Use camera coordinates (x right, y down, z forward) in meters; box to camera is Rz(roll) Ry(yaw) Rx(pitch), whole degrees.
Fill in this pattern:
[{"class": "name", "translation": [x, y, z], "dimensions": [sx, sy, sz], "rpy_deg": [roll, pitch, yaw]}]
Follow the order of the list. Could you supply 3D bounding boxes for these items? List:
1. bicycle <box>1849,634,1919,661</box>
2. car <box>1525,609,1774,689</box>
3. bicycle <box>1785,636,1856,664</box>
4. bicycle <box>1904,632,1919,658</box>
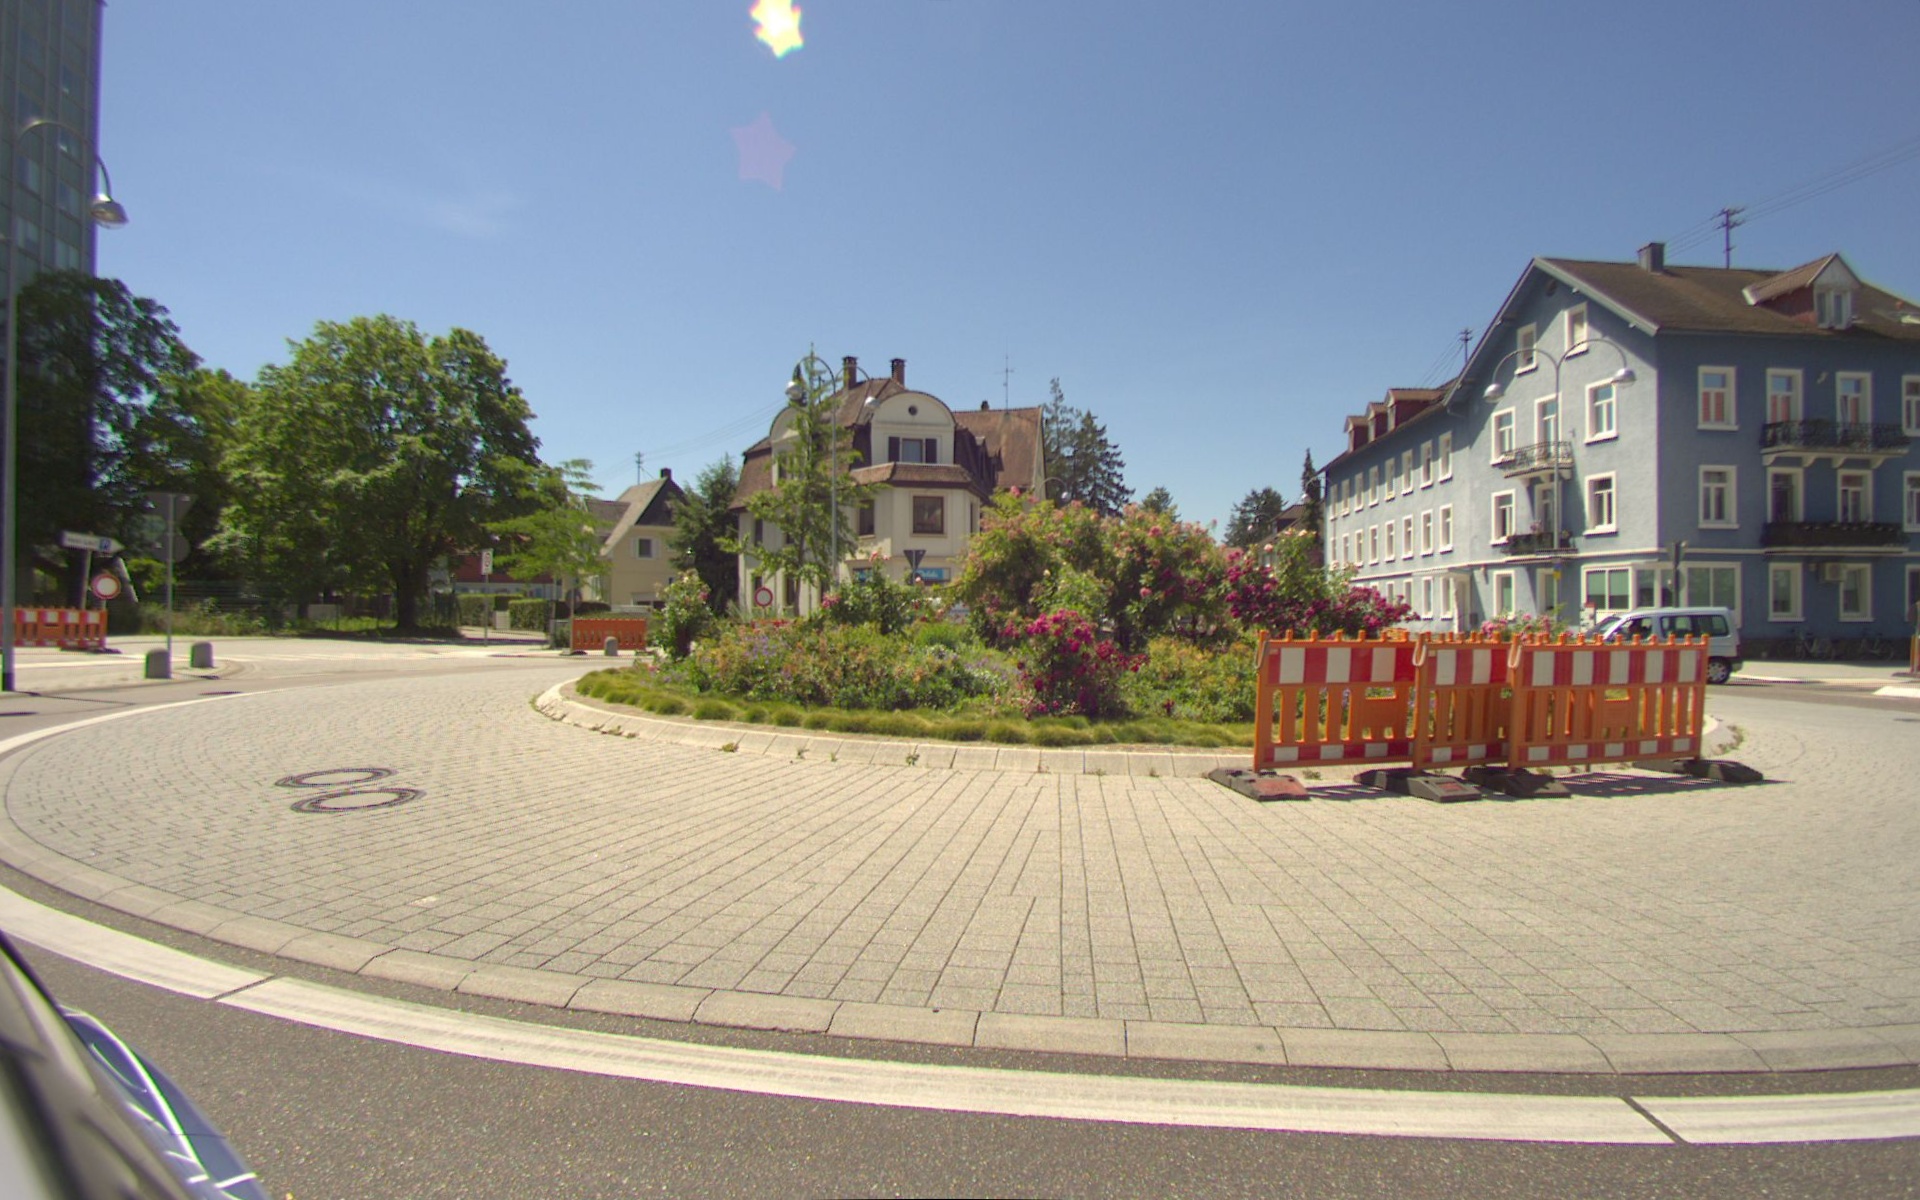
[{"class": "bicycle", "translation": [32.002, 1.654, 35.053], "dimensions": [2.054, 0.918, 0.613], "rpy_deg": [1, -1, -7]}, {"class": "car", "translation": [16.311, 1.126, 24.257], "dimensions": [4.533, 1.750, 1.986], "rpy_deg": [0, -1, 21]}, {"class": "bicycle", "translation": [29.162, 1.699, 34.303], "dimensions": [2.054, 0.918, 0.613], "rpy_deg": [1, -1, -7]}, {"class": "bicycle", "translation": [34.224, 1.577, 35.301], "dimensions": [2.056, 0.918, 0.612], "rpy_deg": [1, -1, -3]}]
